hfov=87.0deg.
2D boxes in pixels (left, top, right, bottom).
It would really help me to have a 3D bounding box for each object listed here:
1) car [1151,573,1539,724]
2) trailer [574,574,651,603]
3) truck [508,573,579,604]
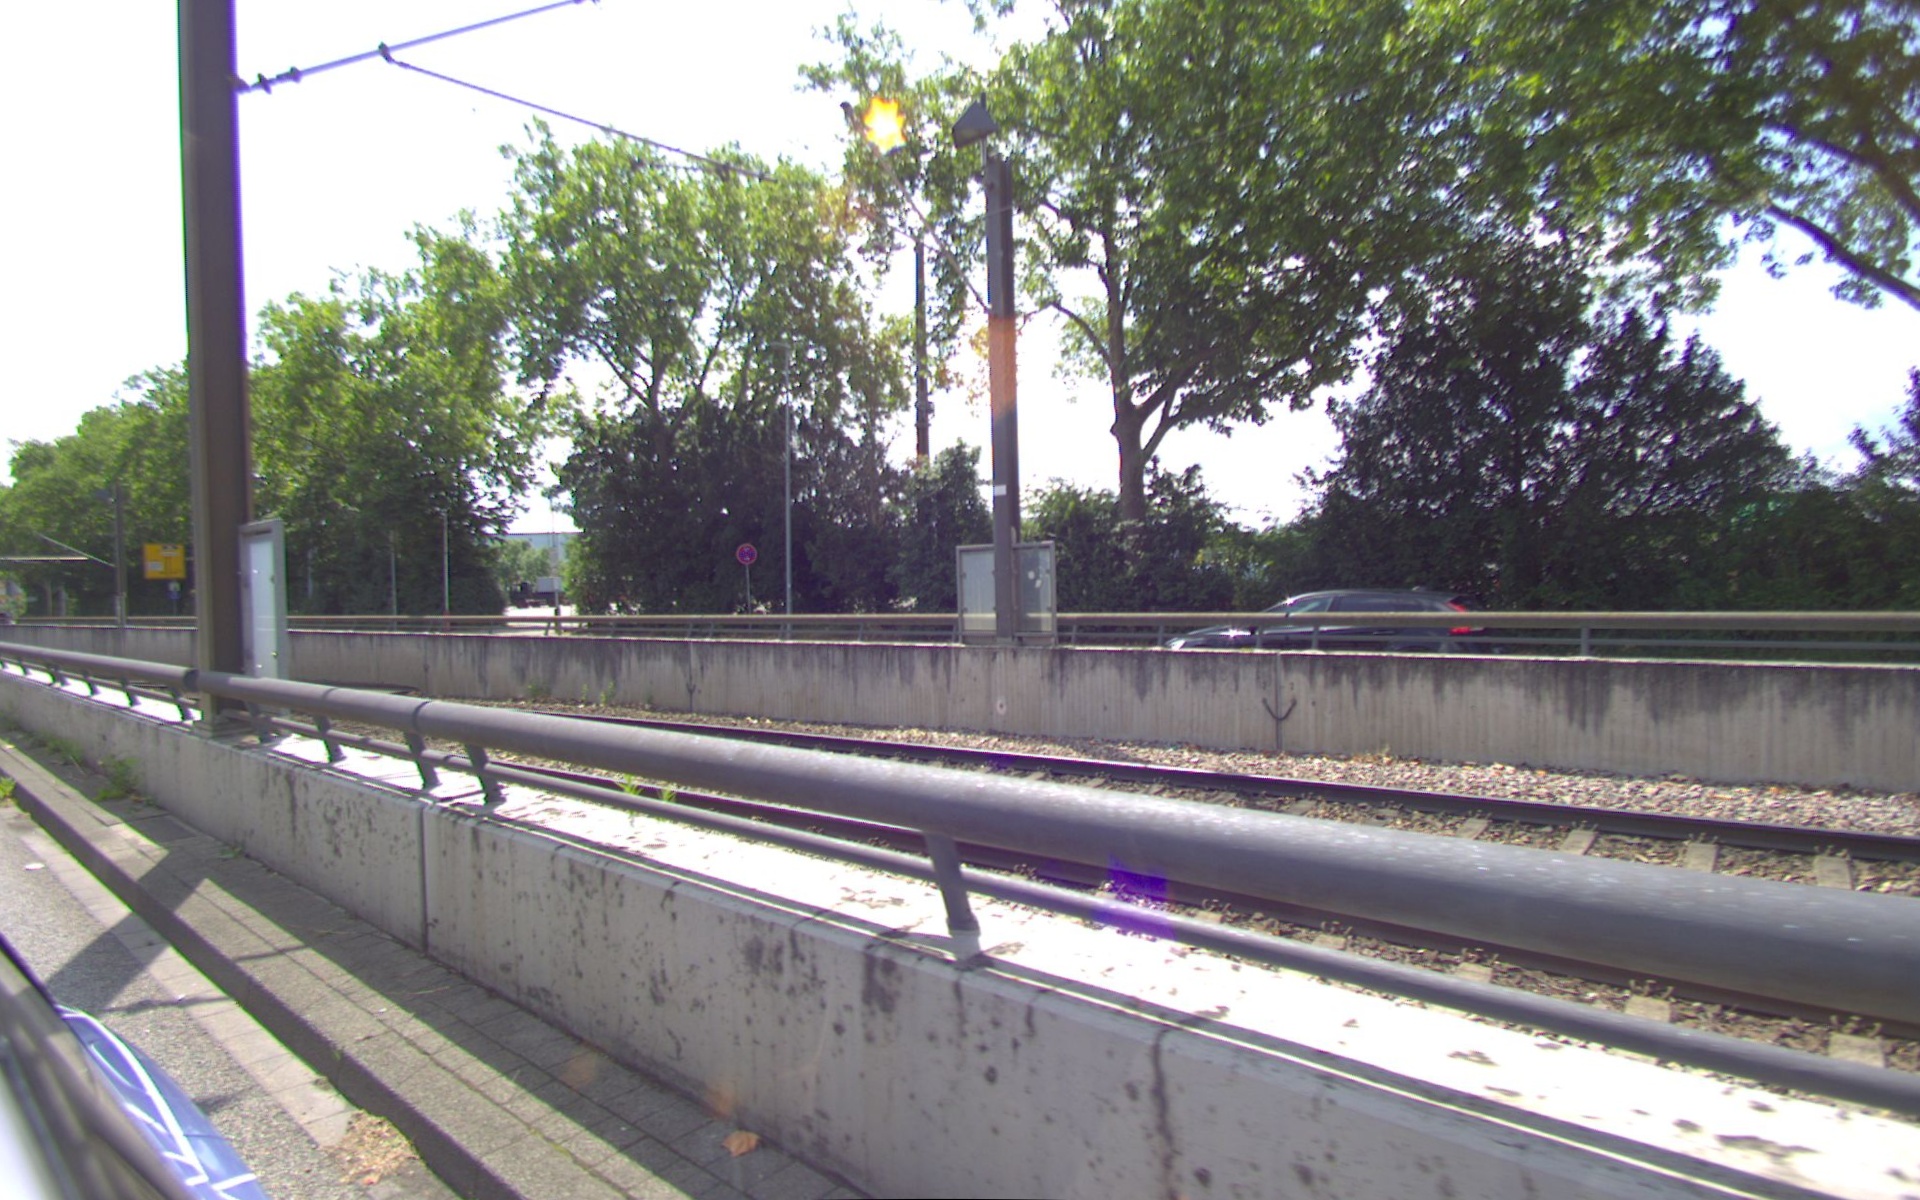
[{"bbox_3d":[4.747,0.534,12.861,4.295,1.609,1.650,-1,1,41],"label":"car"},{"bbox_3d":[-43.162,-1.467,126.036,8.750,3.524,2.874,-1,0,-10],"label":"trailer"},{"bbox_3d":[-51.245,-1.409,124.641,7.600,3.689,3.066,-1,0,-10],"label":"truck"}]
